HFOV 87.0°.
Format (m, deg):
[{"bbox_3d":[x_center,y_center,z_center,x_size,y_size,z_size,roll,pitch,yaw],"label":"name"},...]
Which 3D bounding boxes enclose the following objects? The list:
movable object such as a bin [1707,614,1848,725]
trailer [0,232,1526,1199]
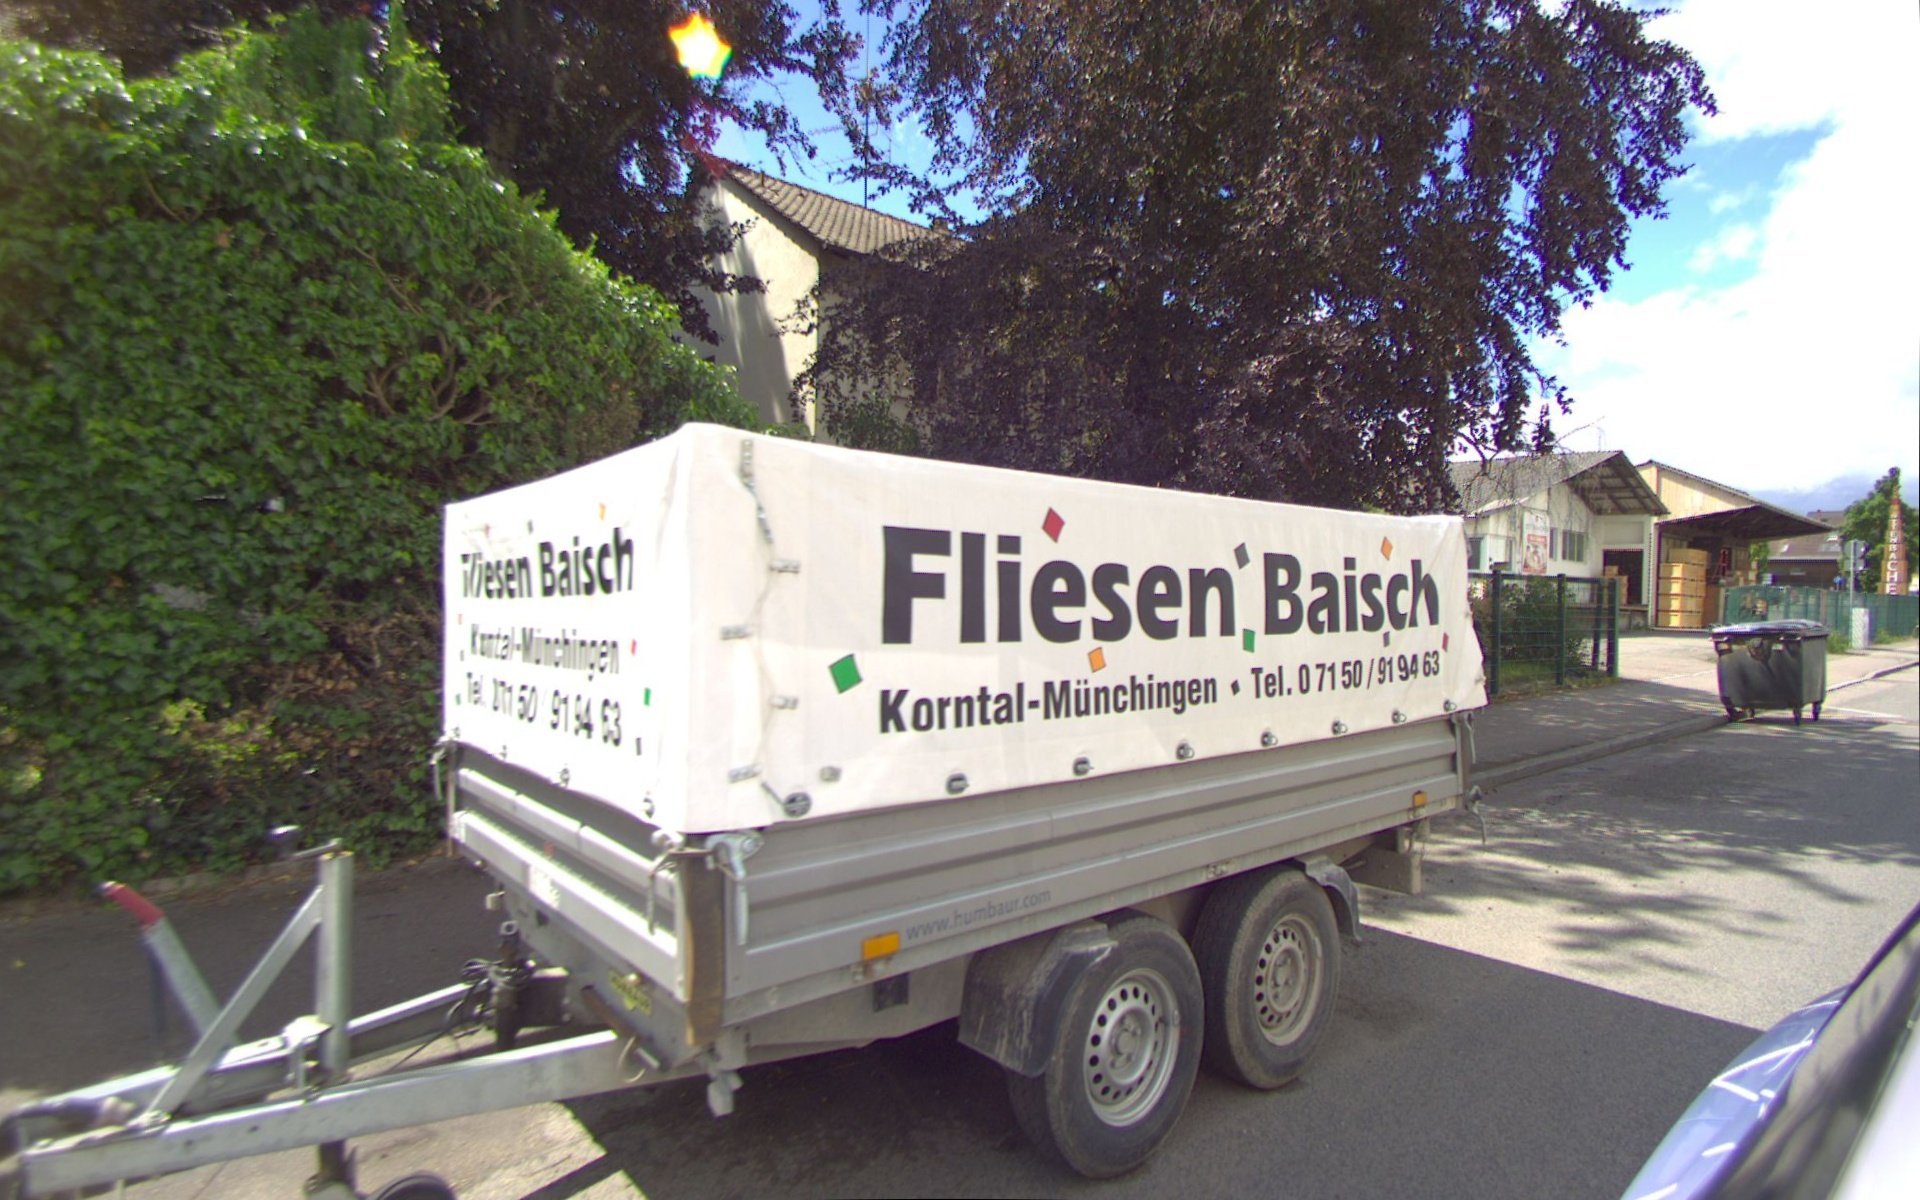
[{"bbox_3d":[10.793,0.873,13.359,1.332,1.307,1.117,0,2,-36],"label":"movable object such as a bin"},{"bbox_3d":[-0.271,0.528,3.074,4.681,1.846,1.997,0,-1,-41],"label":"trailer"}]
